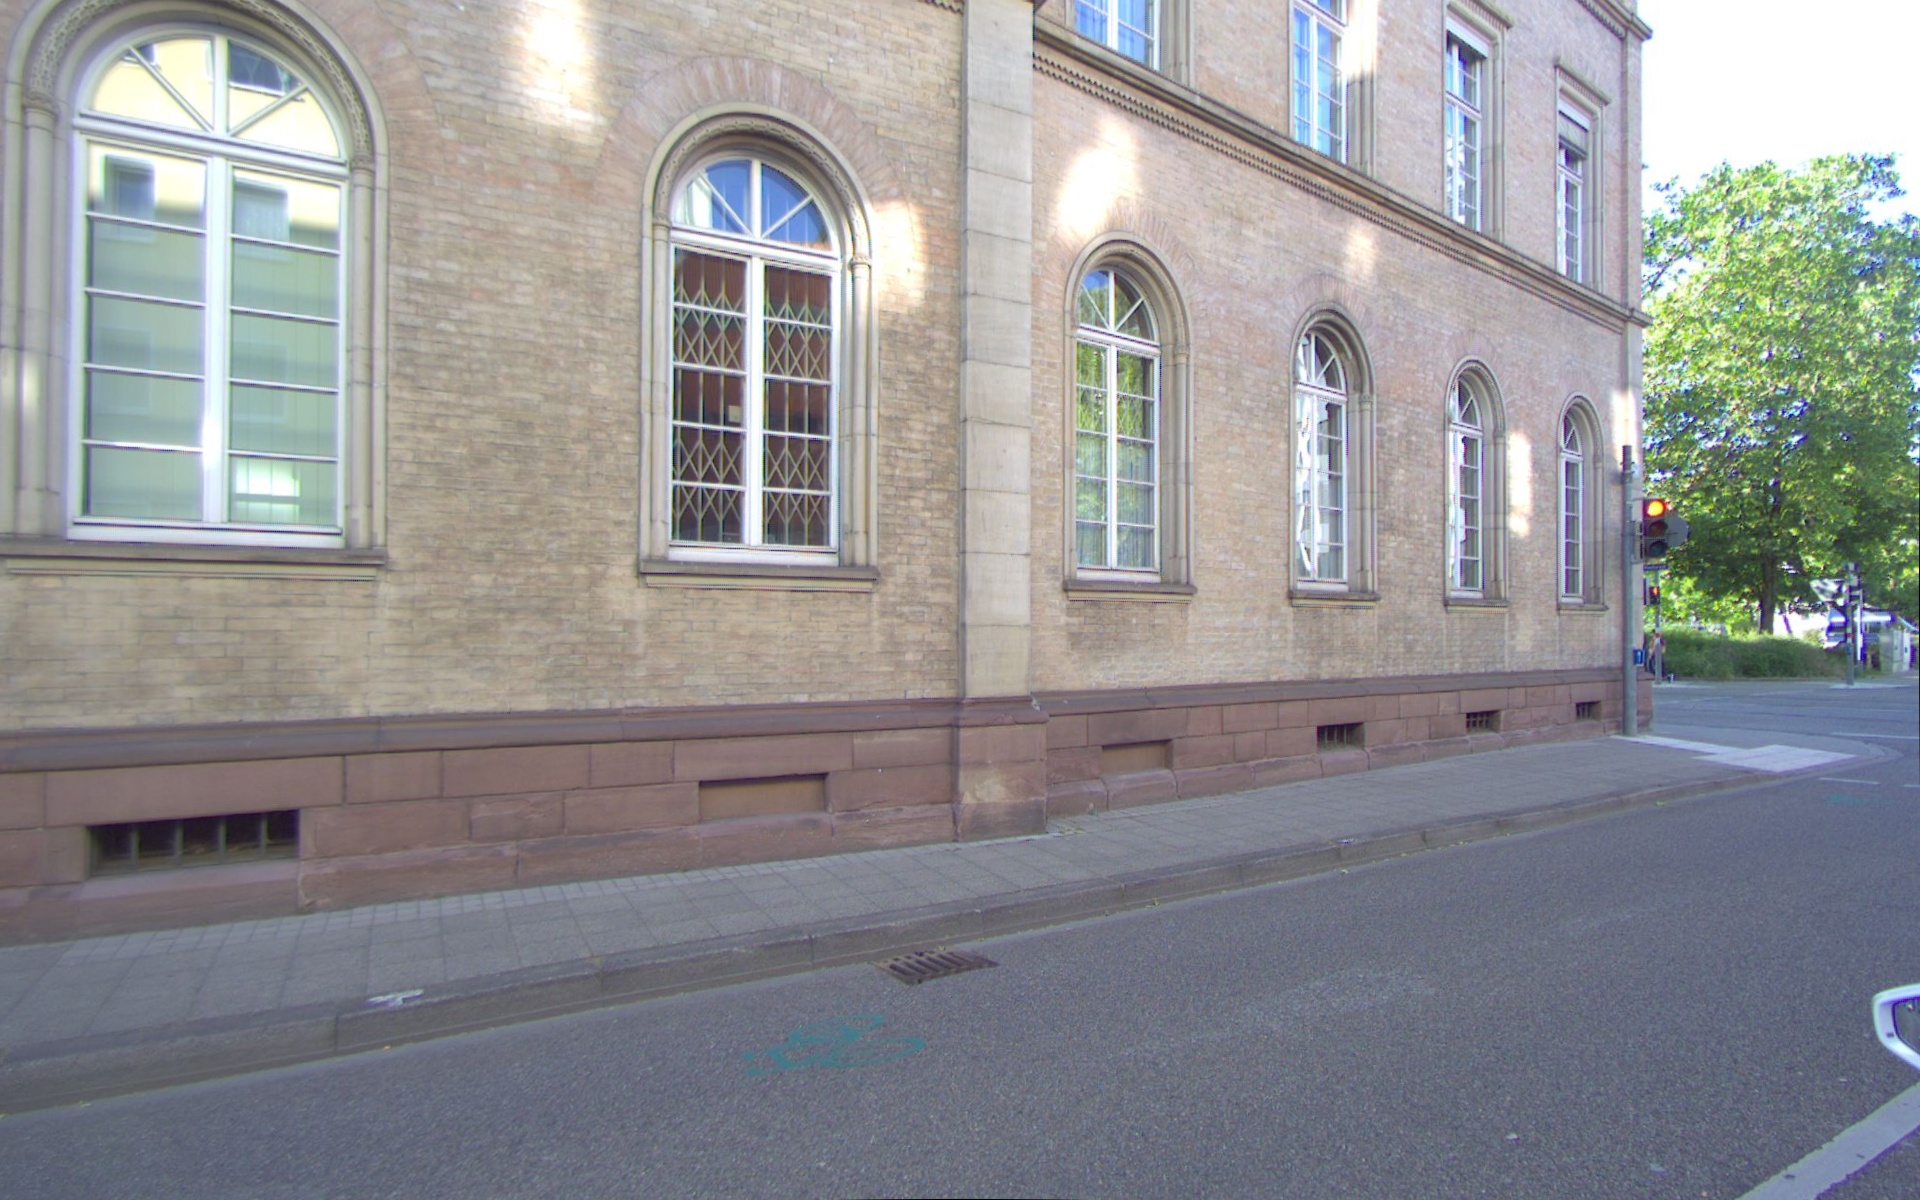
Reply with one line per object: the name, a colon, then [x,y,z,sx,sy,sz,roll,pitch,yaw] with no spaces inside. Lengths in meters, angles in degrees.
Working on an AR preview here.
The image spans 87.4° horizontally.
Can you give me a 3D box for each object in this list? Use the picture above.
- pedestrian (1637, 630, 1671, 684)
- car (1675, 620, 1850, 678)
pedestrian: [21.042,1.726,30.460,0.700,1.620,0.617,0,-1,23]
car: [26.334,1.565,33.098,1.888,1.801,4.193,1,-2,-37]
